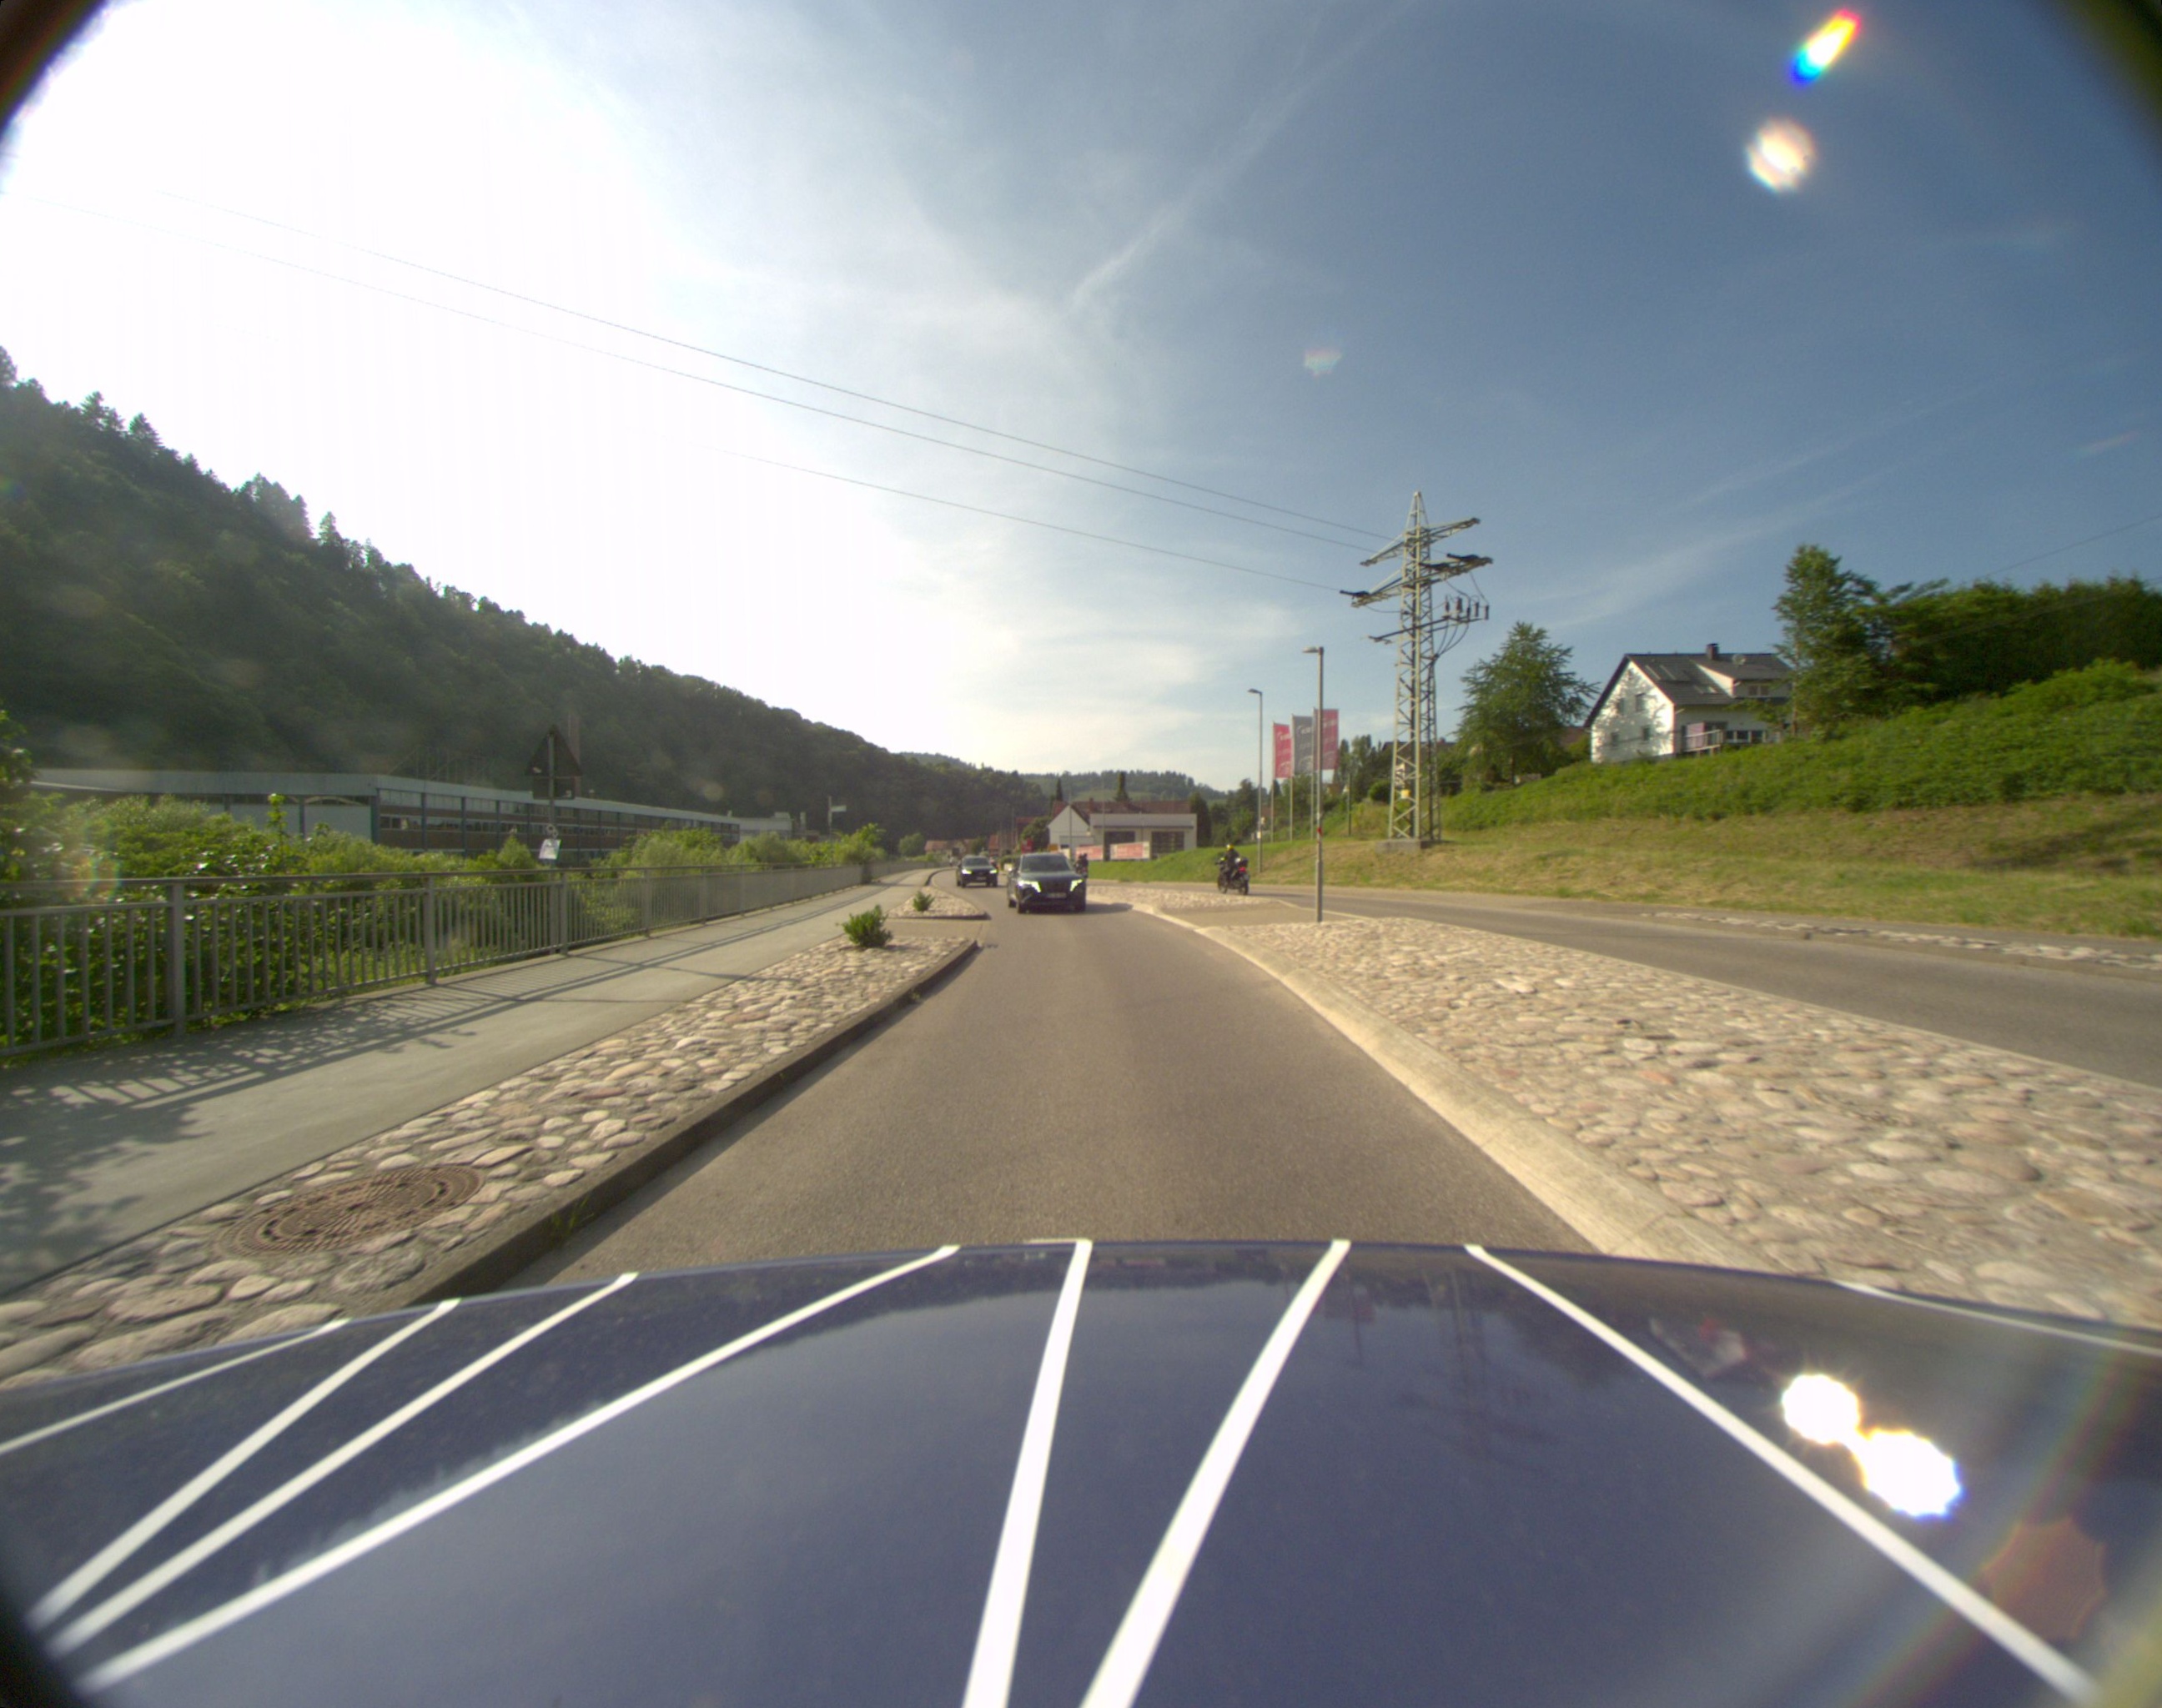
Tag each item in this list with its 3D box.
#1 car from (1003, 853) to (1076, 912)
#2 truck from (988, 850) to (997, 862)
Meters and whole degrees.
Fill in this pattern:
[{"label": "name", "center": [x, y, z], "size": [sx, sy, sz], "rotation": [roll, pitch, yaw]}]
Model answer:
[{"label": "car", "center": [-1.385, 0.818, 23.731], "size": [1.650, 1.639, 3.995], "rotation": [-2, 1, -12]}, {"label": "truck", "center": [-28.086, 0.577, 240.433], "size": [2.586, 3.908, 11.297], "rotation": [1, 0, -7]}]
